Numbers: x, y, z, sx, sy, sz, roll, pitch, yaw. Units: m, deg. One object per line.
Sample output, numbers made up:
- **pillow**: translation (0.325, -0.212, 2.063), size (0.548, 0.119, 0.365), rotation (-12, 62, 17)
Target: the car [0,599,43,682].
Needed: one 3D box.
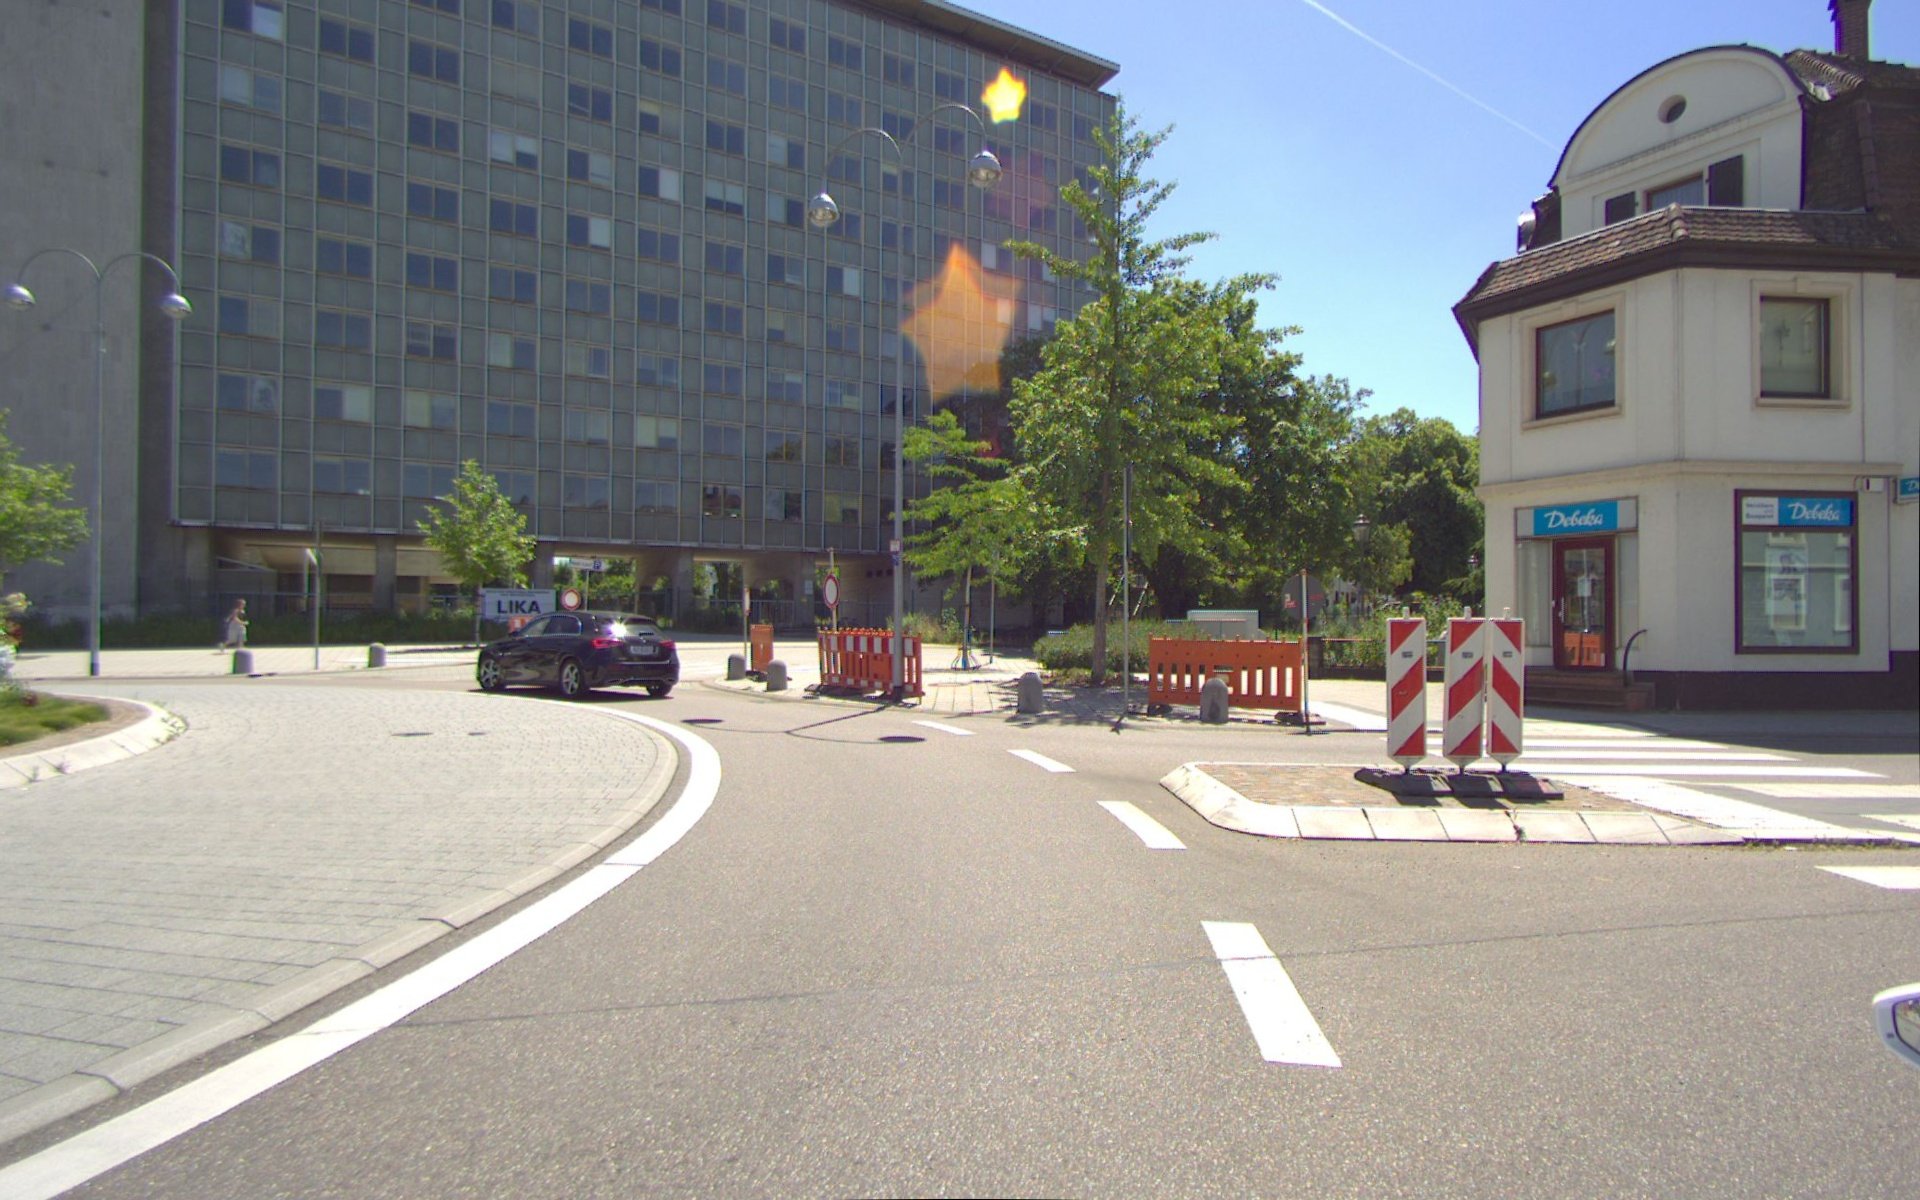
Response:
- **car**: translation (-20.580, 0.764, 19.404), size (3.848, 1.618, 1.788), rotation (1, -1, -8)

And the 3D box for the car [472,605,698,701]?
- **car**: translation (-6.506, 0.845, 17.280), size (3.940, 1.446, 1.951), rotation (0, -2, 40)

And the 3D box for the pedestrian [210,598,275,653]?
- **pedestrian**: translation (-21.587, 0.768, 30.242), size (1.259, 1.606, 0.947), rotation (1, -1, -10)
